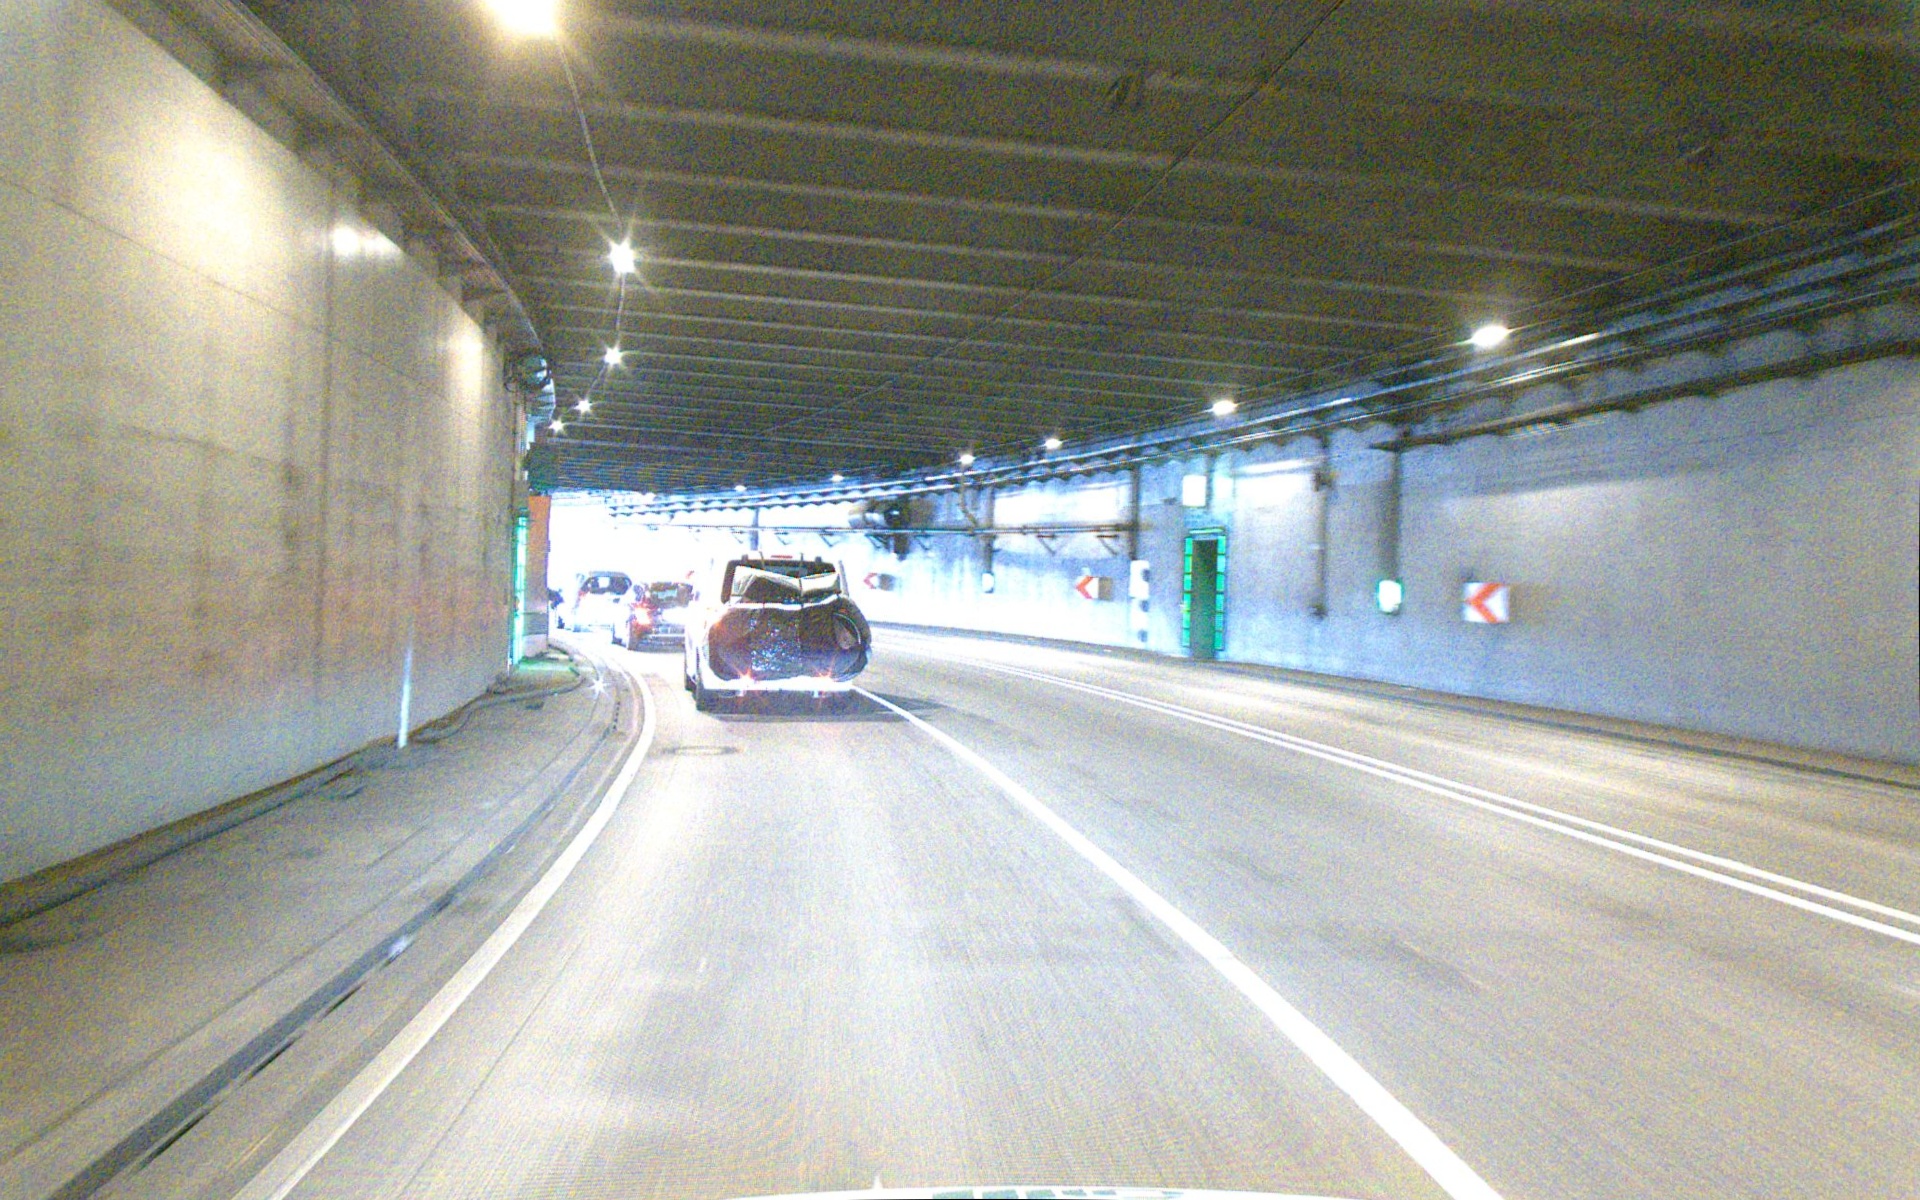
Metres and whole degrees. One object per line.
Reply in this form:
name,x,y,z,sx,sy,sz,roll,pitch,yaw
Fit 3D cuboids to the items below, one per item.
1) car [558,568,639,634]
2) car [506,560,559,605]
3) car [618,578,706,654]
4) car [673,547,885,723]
car,-9.576,0.028,43.675,1.579,1.622,3.335,2,0,-20
car,-16.600,-0.674,64.123,1.580,1.659,3.334,2,-1,-22
car,-6.257,0.303,34.523,1.575,1.419,3.266,3,0,-14
car,-2.398,0.336,20.546,1.959,1.879,5.283,1,1,-13
